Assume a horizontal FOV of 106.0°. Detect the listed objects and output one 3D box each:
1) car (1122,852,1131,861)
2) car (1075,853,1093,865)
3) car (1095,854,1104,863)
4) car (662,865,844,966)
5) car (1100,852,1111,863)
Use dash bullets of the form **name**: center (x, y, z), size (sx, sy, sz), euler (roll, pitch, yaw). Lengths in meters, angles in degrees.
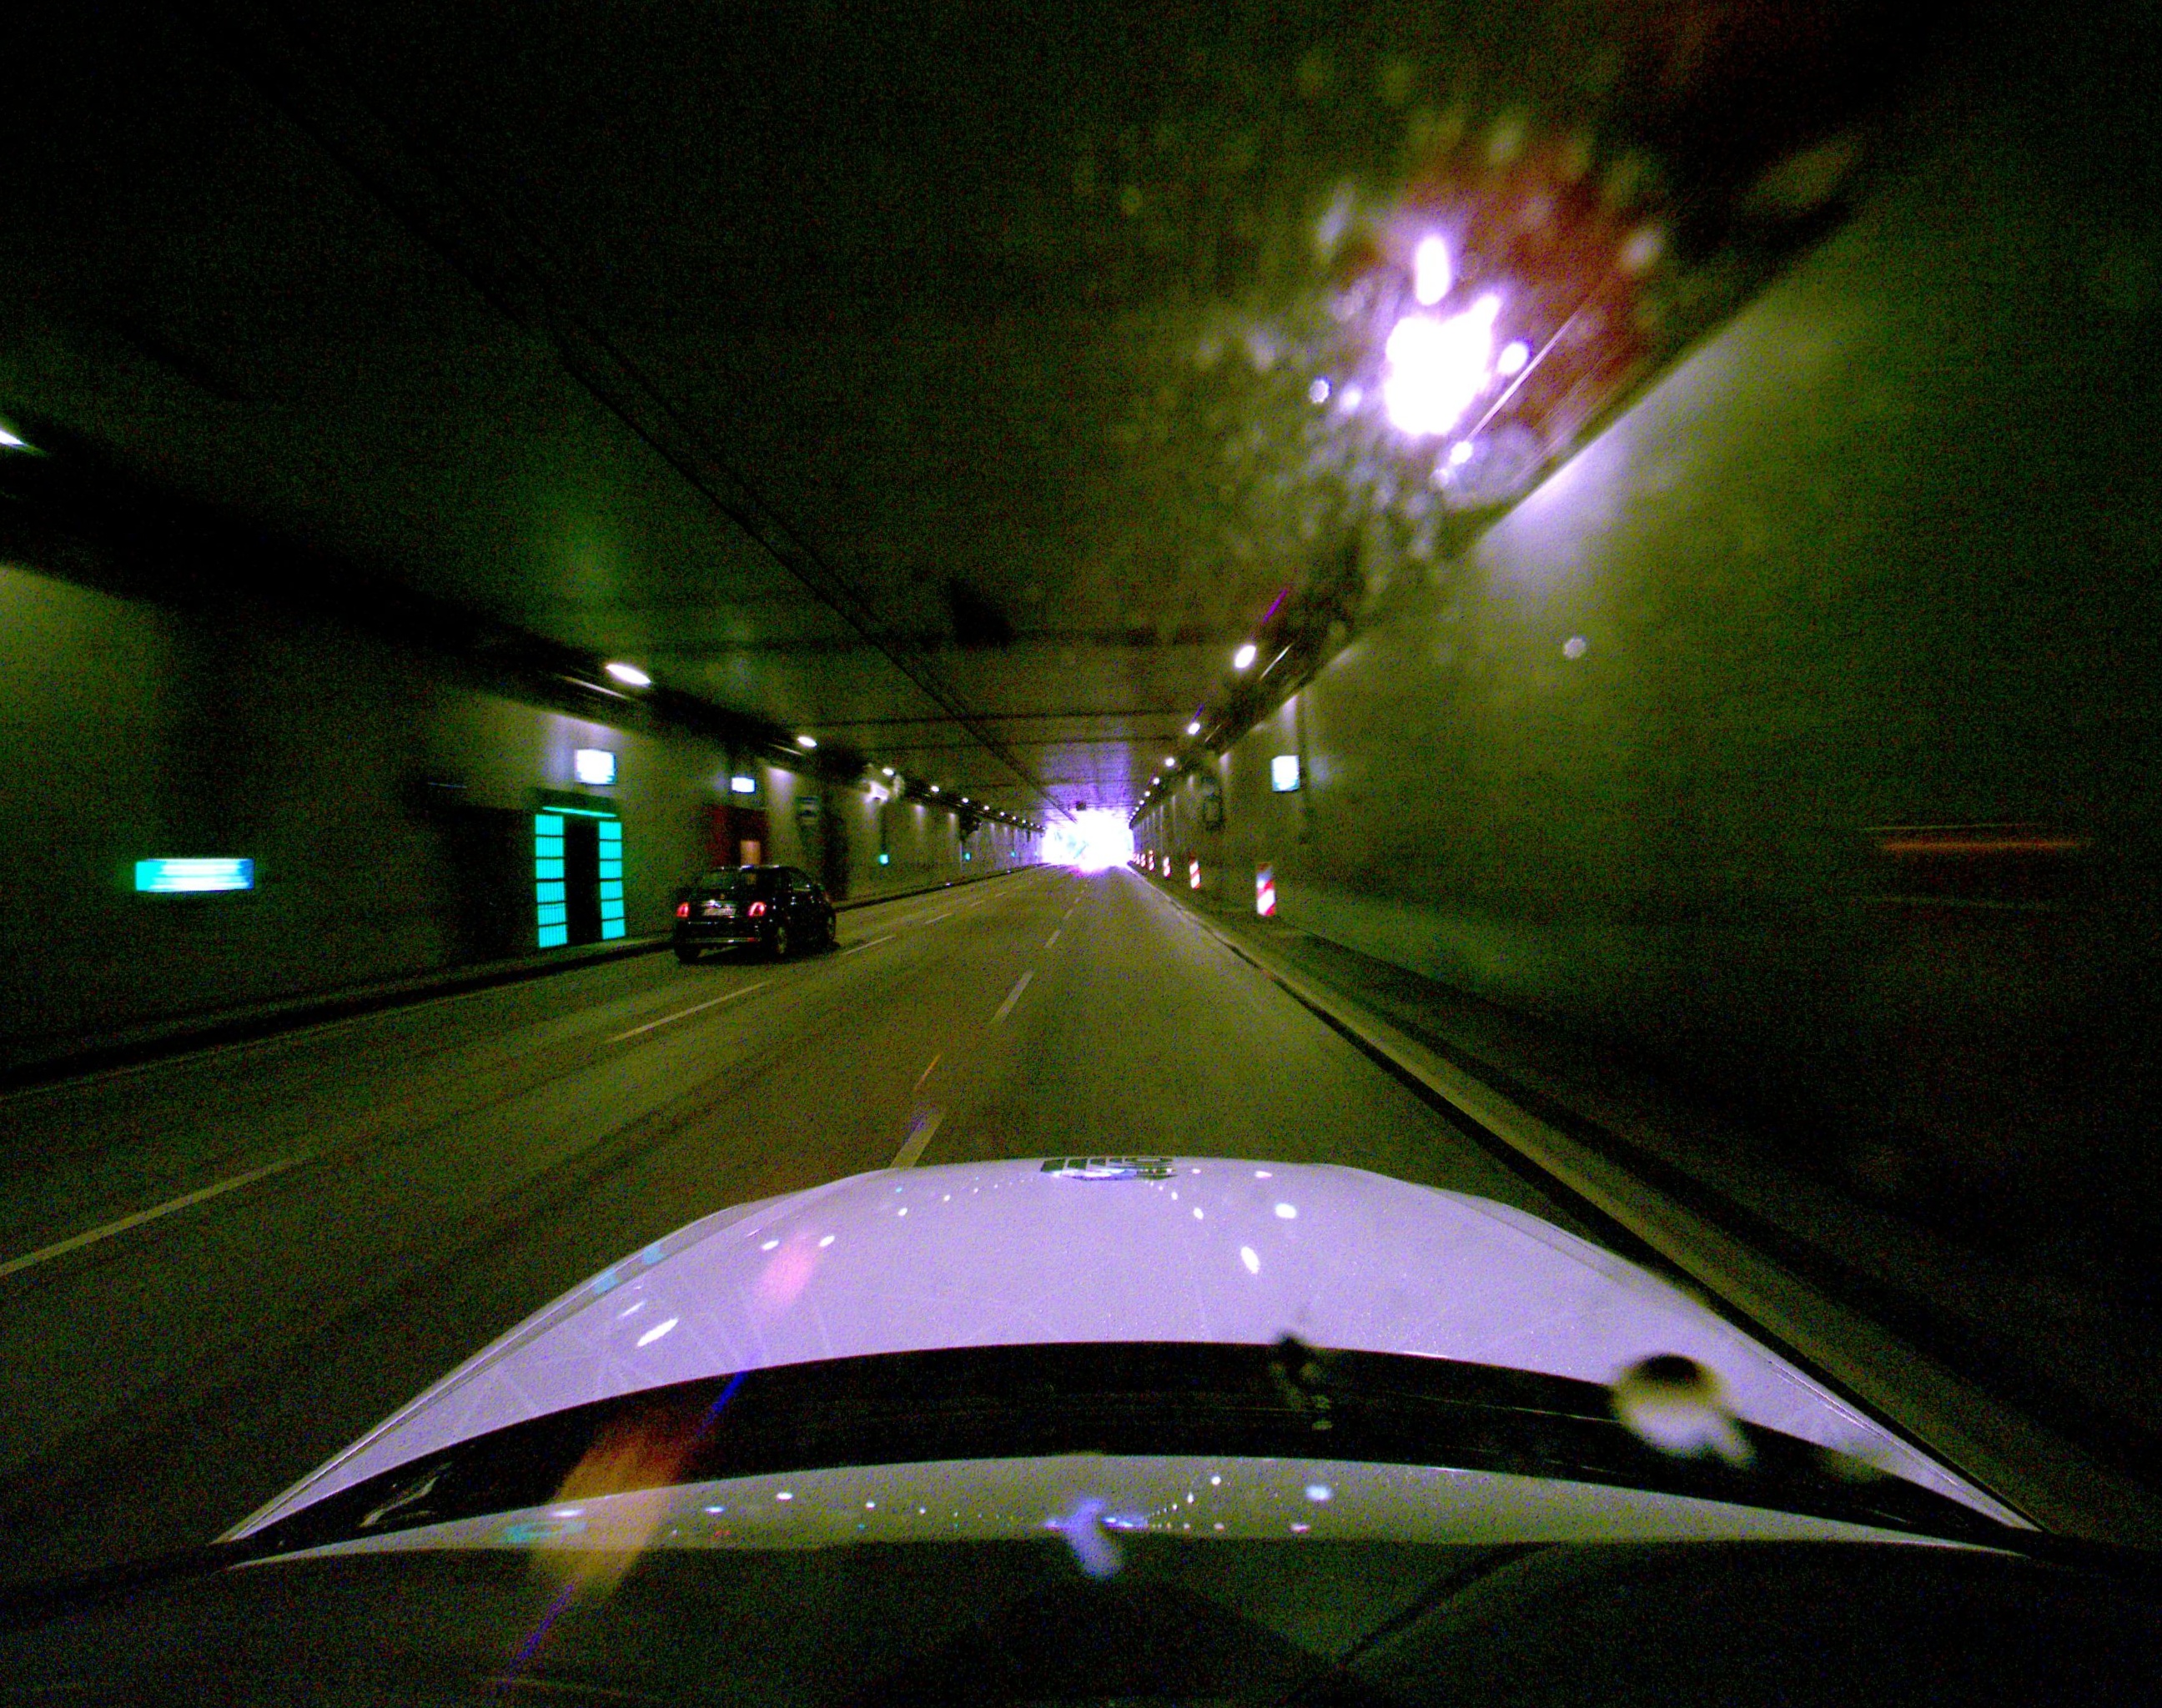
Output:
- **car**: center (10.149, 0.605, 182.687), size (1.986, 2.014, 4.002), euler (-2, -1, 2)
- **car**: center (0.347, 0.592, 97.996), size (1.988, 1.448, 4.311), euler (-1, 0, -2)
- **car**: center (4.462, 1.160, 195.538), size (1.986, 2.014, 4.000), euler (-2, -1, 1)
- **car**: center (-5.389, 0.942, 13.886), size (1.607, 1.454, 3.572), euler (-1, -1, 1)
- **car**: center (5.088, 0.726, 168.557), size (1.986, 2.014, 4.002), euler (-2, -1, 2)
